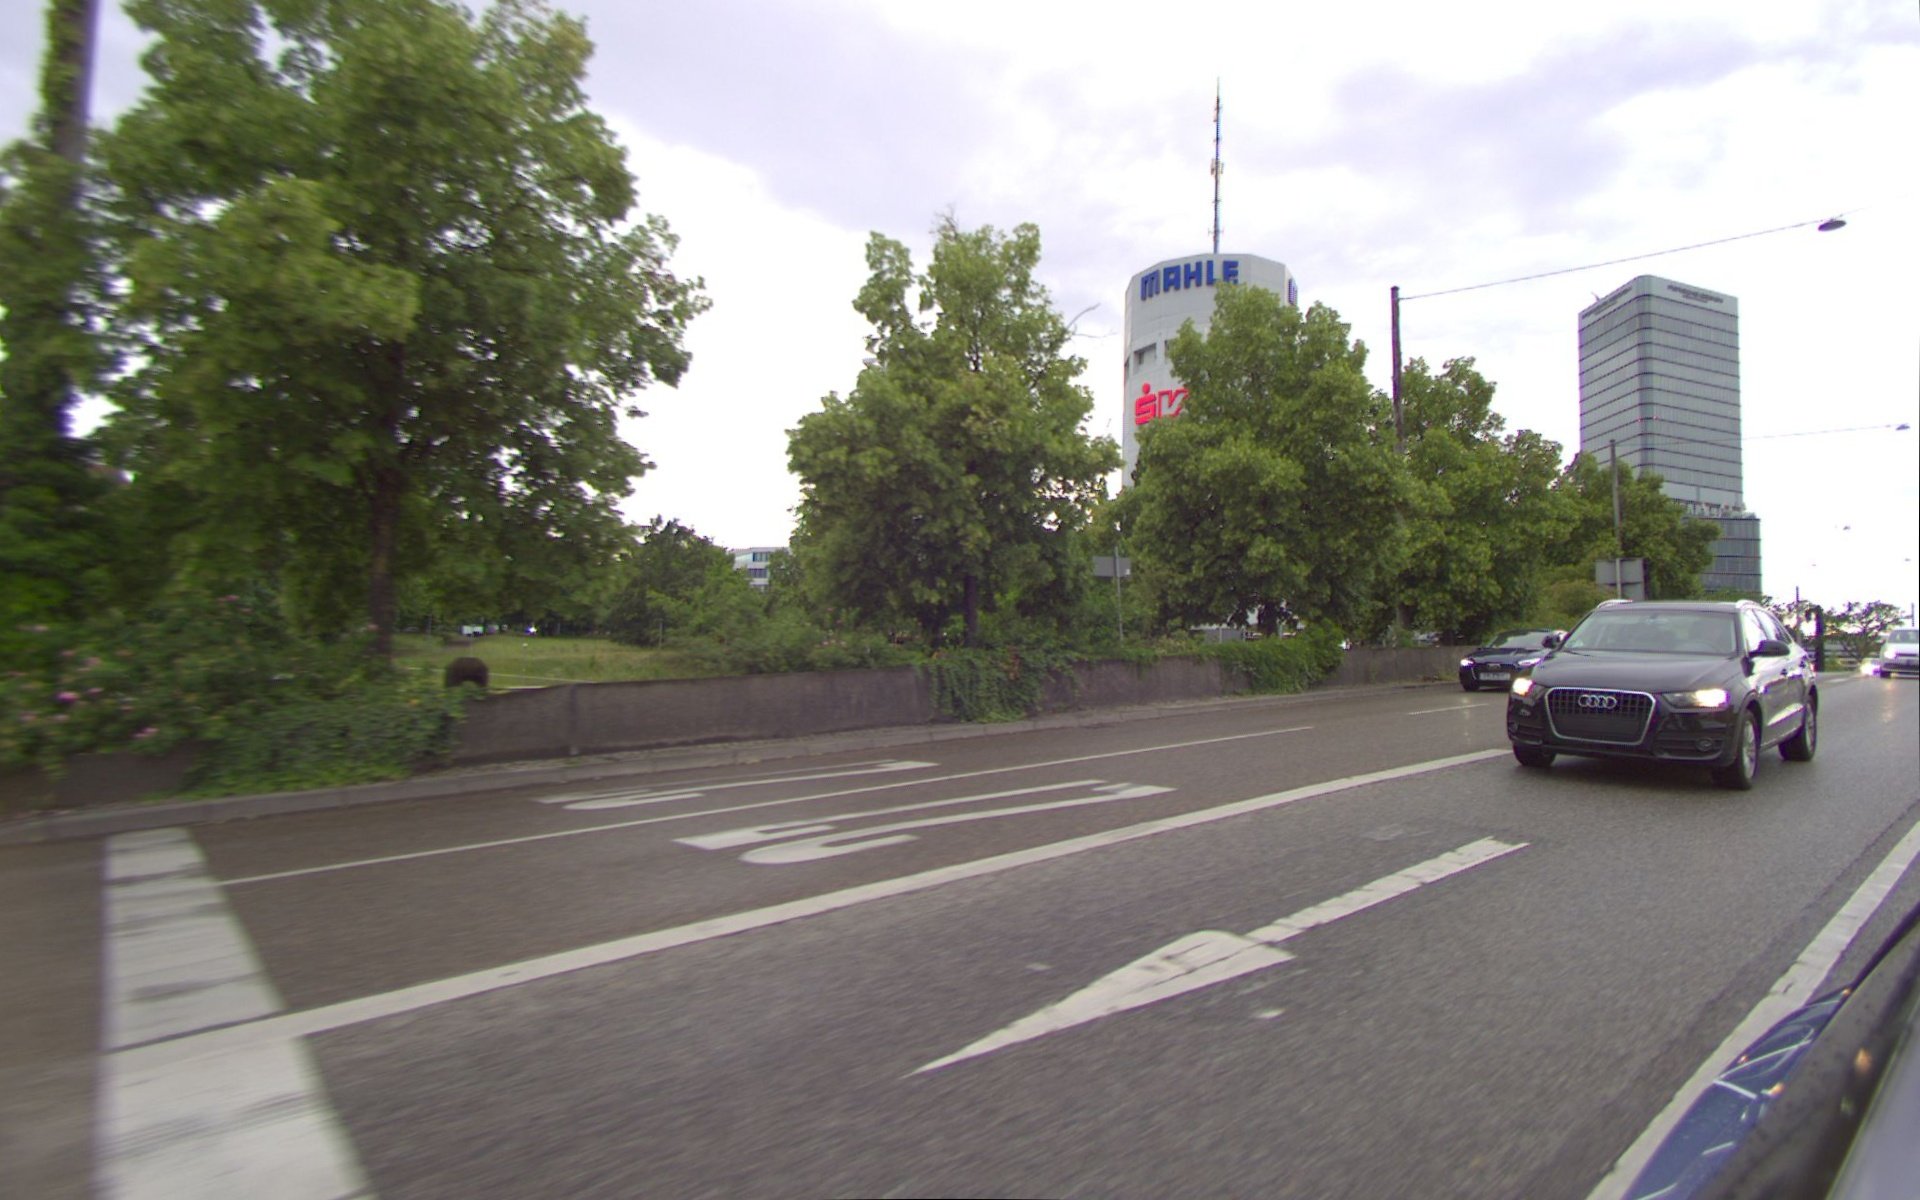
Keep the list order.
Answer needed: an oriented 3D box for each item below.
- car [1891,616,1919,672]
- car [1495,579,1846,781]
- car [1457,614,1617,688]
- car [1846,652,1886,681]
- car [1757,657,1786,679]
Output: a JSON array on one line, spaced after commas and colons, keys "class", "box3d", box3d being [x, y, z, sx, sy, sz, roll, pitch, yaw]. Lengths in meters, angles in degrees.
[{"class": "car", "box3d": [27.178, 1.218, 28.136, 1.725, 1.491, 4.194, -2, -3, 45]}, {"class": "car", "box3d": [6.967, 0.675, 9.778, 4.052, 1.554, 1.728, 1, -3, -40]}, {"class": "car", "box3d": [13.185, 1.097, 23.026, 4.273, 1.444, 1.874, -1, -1, -42]}, {"class": "car", "box3d": [60.812, 4.482, 67.986, 1.794, 1.798, 3.941, -2, -5, 40]}, {"class": "car", "box3d": [60.206, 5.044, 75.063, 1.628, 1.495, 3.623, -2, -5, 39]}]
